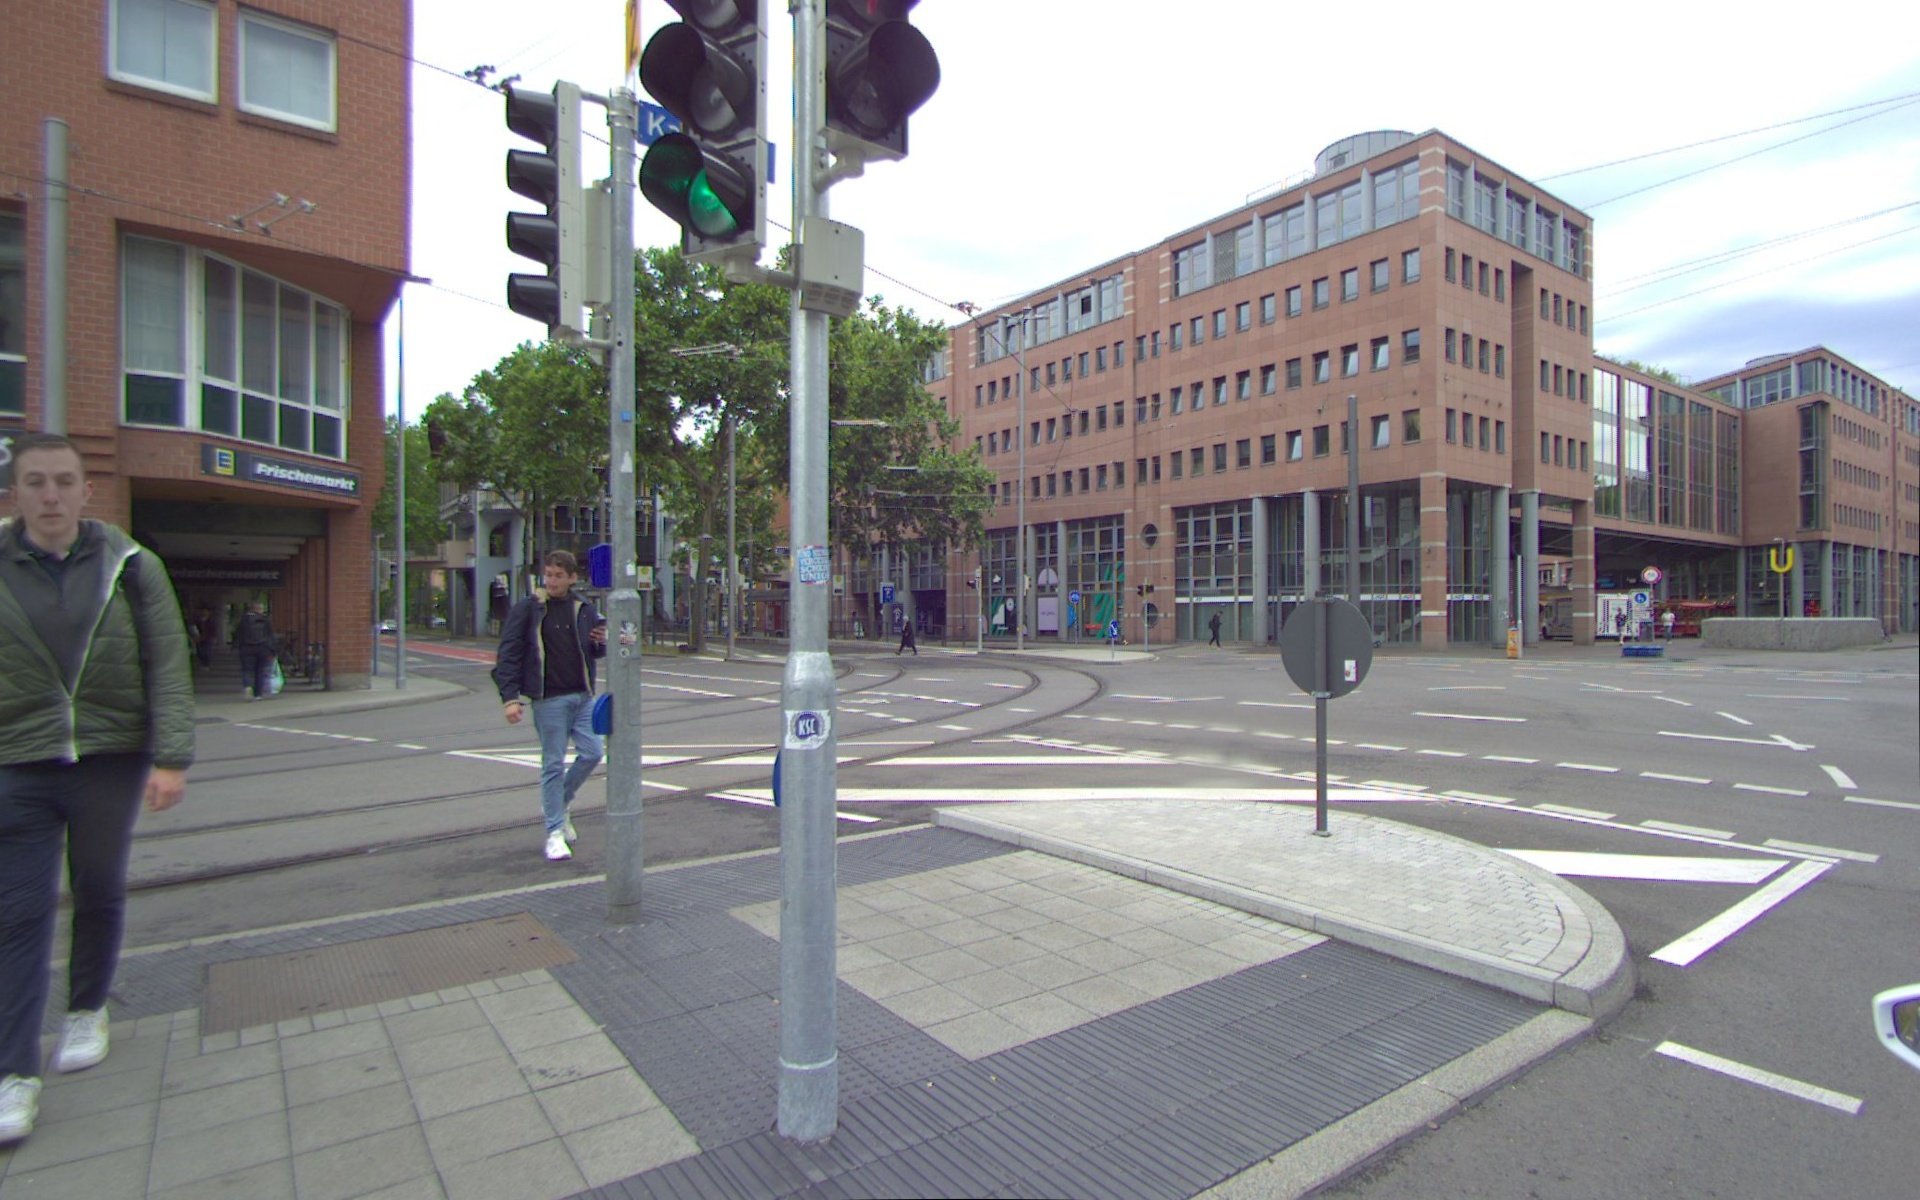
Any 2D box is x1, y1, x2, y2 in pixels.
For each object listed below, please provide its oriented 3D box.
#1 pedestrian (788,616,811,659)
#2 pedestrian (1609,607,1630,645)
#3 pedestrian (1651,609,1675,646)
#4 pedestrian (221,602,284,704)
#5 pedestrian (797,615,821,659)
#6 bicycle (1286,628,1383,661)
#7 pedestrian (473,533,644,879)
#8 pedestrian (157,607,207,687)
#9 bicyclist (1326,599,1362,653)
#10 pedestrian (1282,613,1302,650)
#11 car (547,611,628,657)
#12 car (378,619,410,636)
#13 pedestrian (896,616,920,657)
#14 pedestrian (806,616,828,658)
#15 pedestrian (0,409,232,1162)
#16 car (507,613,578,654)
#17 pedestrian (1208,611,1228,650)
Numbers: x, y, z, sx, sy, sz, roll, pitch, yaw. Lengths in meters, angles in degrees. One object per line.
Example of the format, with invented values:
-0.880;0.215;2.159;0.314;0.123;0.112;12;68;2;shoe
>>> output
-6.203;1.462;38.781;0.626;1.633;0.567;2;-1;-44;pedestrian
32.471;1.266;49.447;0.729;1.866;0.694;0;0;-41;pedestrian
36.061;1.403;51.503;0.722;1.866;0.700;0;0;-17;pedestrian
-12.290;0.900;17.446;0.793;1.706;0.737;2;0;-41;pedestrian
-5.647;1.378;37.534;0.626;1.595;0.567;2;-1;-44;pedestrian
13.057;1.520;35.158;0.895;1.058;3.246;1;-1;-34;bicycle
-2.418;0.599;6.051;0.792;1.915;0.605;2;-1;-39;pedestrian
-17.101;1.014;22.076;0.793;1.706;0.737;2;0;-41;pedestrian
13.307;0.901;34.819;0.828;1.836;0.869;0;0;-34;bicyclist
14.586;1.368;44.137;0.730;1.581;0.573;1;-1;28;pedestrian
-15.465;1.386;41.617;1.913;1.817;3.952;1;-1;-41;car
-52.161;2.514;92.547;1.913;1.584;3.823;1;-1;-41;car
-2.067;1.452;39.751;0.736;1.581;0.569;2;-1;-31;pedestrian
-5.644;1.445;39.713;0.626;1.633;0.567;2;-1;-44;pedestrian
-2.663;0.471;2.939;0.792;1.915;0.889;1;0;-39;pedestrian
-19.441;1.523;46.687;1.913;1.817;3.952;1;-1;-41;car
11.741;1.391;45.683;0.730;1.710;0.573;1;-1;28;pedestrian
